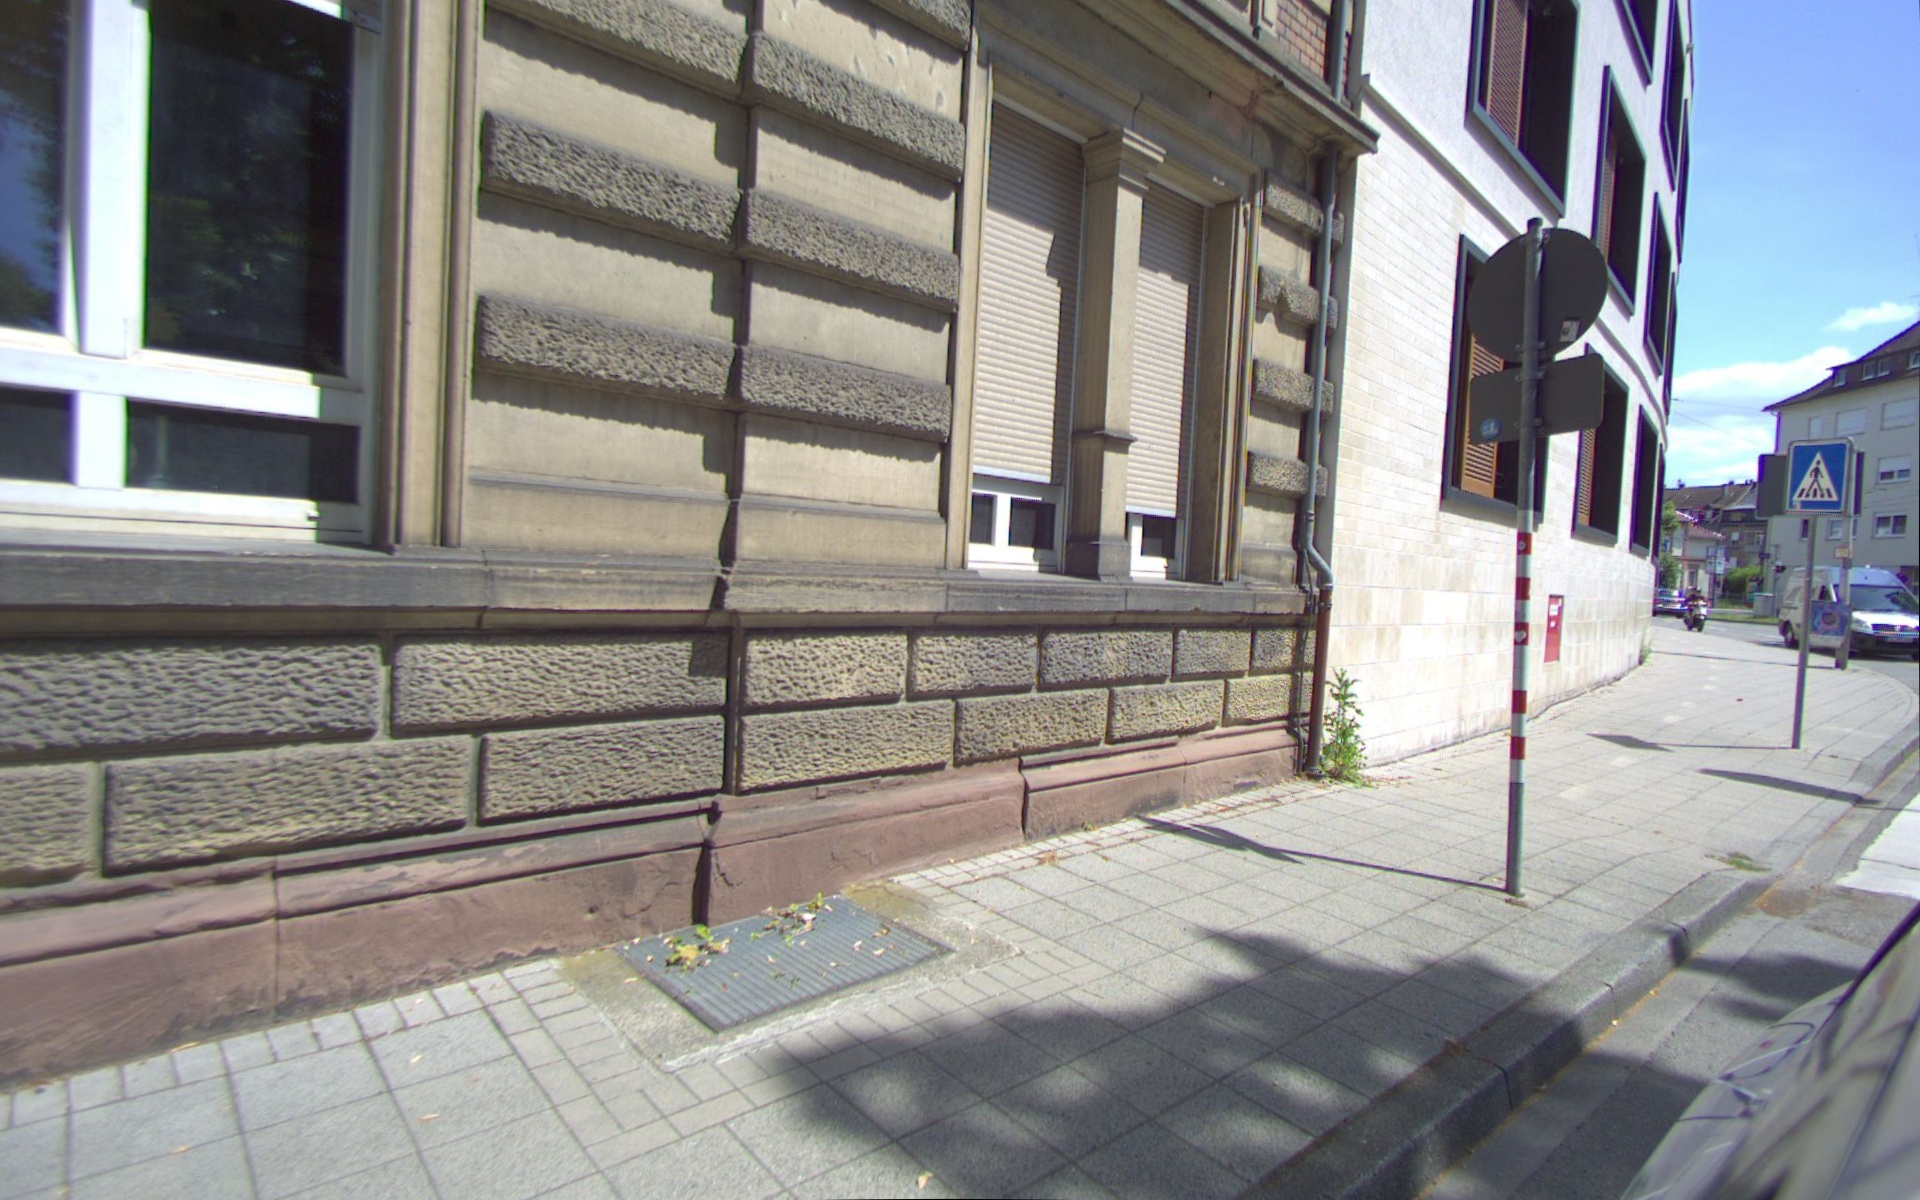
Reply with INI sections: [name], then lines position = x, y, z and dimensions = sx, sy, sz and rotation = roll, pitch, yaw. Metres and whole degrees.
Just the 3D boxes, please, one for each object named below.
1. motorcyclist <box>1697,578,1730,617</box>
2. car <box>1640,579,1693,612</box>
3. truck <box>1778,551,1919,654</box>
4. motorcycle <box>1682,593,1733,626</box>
[motorcyclist]
position = 26.552, -0.095, 35.687
dimensions = 0.728, 1.353, 1.159
rotation = 2, 1, 28
[car]
position = 35.237, -0.228, 50.425
dimensions = 1.736, 1.506, 4.345
rotation = 3, 3, 40
[truck]
position = 22.830, -0.035, 25.609
dimensions = 2.002, 2.276, 5.361
rotation = 4, 4, 26
[motorcycle]
position = 26.406, 0.307, 35.802
dimensions = 1.048, 1.093, 2.591
rotation = 2, 2, 29
